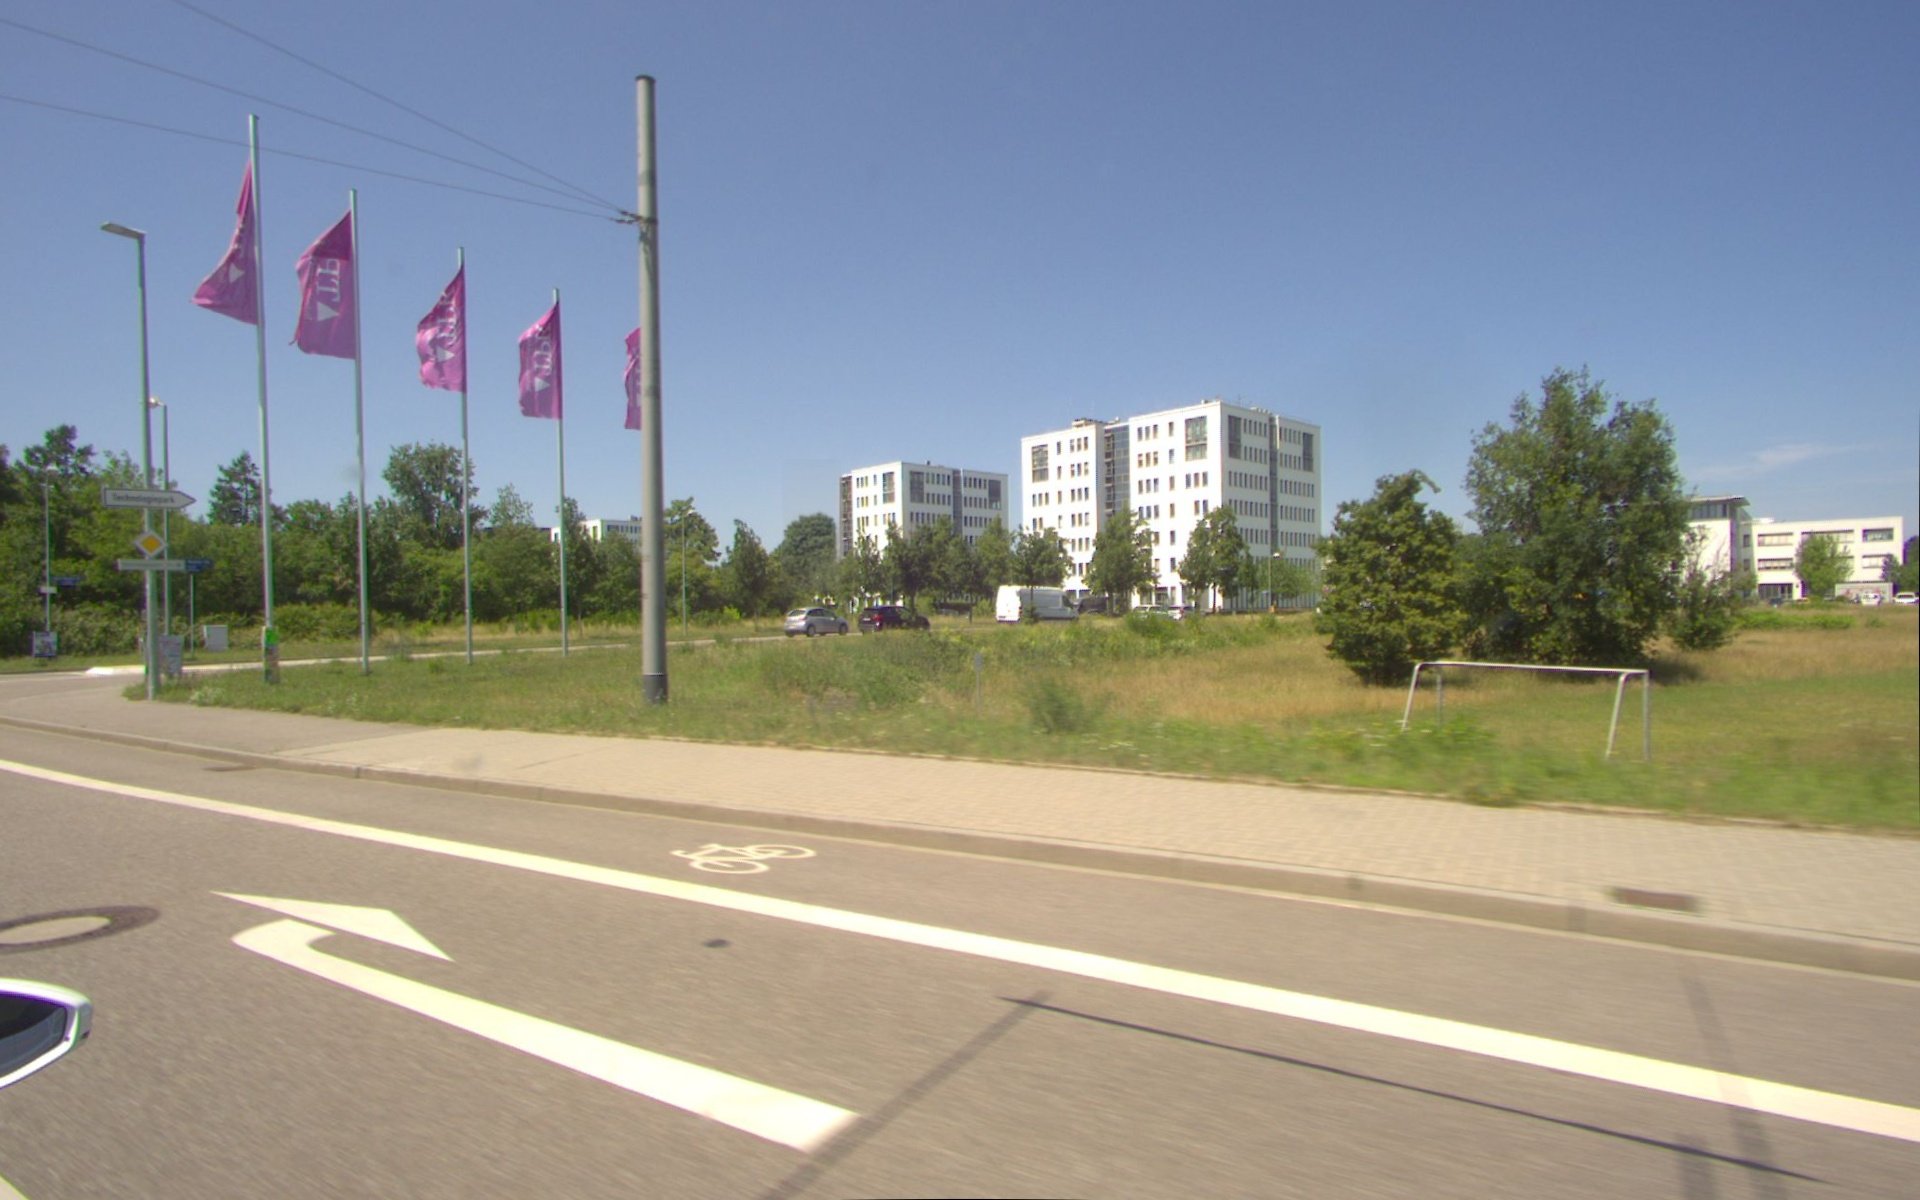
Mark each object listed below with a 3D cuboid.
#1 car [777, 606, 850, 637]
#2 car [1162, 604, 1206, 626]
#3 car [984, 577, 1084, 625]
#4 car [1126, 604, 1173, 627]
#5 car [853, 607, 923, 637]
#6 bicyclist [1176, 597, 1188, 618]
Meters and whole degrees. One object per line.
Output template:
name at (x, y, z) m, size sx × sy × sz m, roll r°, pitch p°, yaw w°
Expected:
car at (-7.669, 1.172, 52.617) m, size 1.687 × 1.552 × 3.599 m, roll -1°, pitch -2°, yaw 42°
car at (17.132, 1.154, 76.441) m, size 1.688 × 1.552 × 3.597 m, roll -1°, pitch -2°, yaw 43°
car at (4.719, 0.129, 62.850) m, size 2.639 × 2.838 × 6.796 m, roll -2°, pitch -2°, yaw 42°
car at (13.804, 1.133, 72.808) m, size 1.688 × 1.552 × 3.597 m, roll -1°, pitch -2°, yaw 43°
car at (-3.750, 1.174, 52.588) m, size 1.684 × 1.552 × 3.604 m, roll -1°, pitch -2°, yaw 37°
bicyclist at (17.785, 0.612, 80.195) m, size 0.602 × 1.646 × 0.686 m, roll 3°, pitch 3°, yaw 42°
